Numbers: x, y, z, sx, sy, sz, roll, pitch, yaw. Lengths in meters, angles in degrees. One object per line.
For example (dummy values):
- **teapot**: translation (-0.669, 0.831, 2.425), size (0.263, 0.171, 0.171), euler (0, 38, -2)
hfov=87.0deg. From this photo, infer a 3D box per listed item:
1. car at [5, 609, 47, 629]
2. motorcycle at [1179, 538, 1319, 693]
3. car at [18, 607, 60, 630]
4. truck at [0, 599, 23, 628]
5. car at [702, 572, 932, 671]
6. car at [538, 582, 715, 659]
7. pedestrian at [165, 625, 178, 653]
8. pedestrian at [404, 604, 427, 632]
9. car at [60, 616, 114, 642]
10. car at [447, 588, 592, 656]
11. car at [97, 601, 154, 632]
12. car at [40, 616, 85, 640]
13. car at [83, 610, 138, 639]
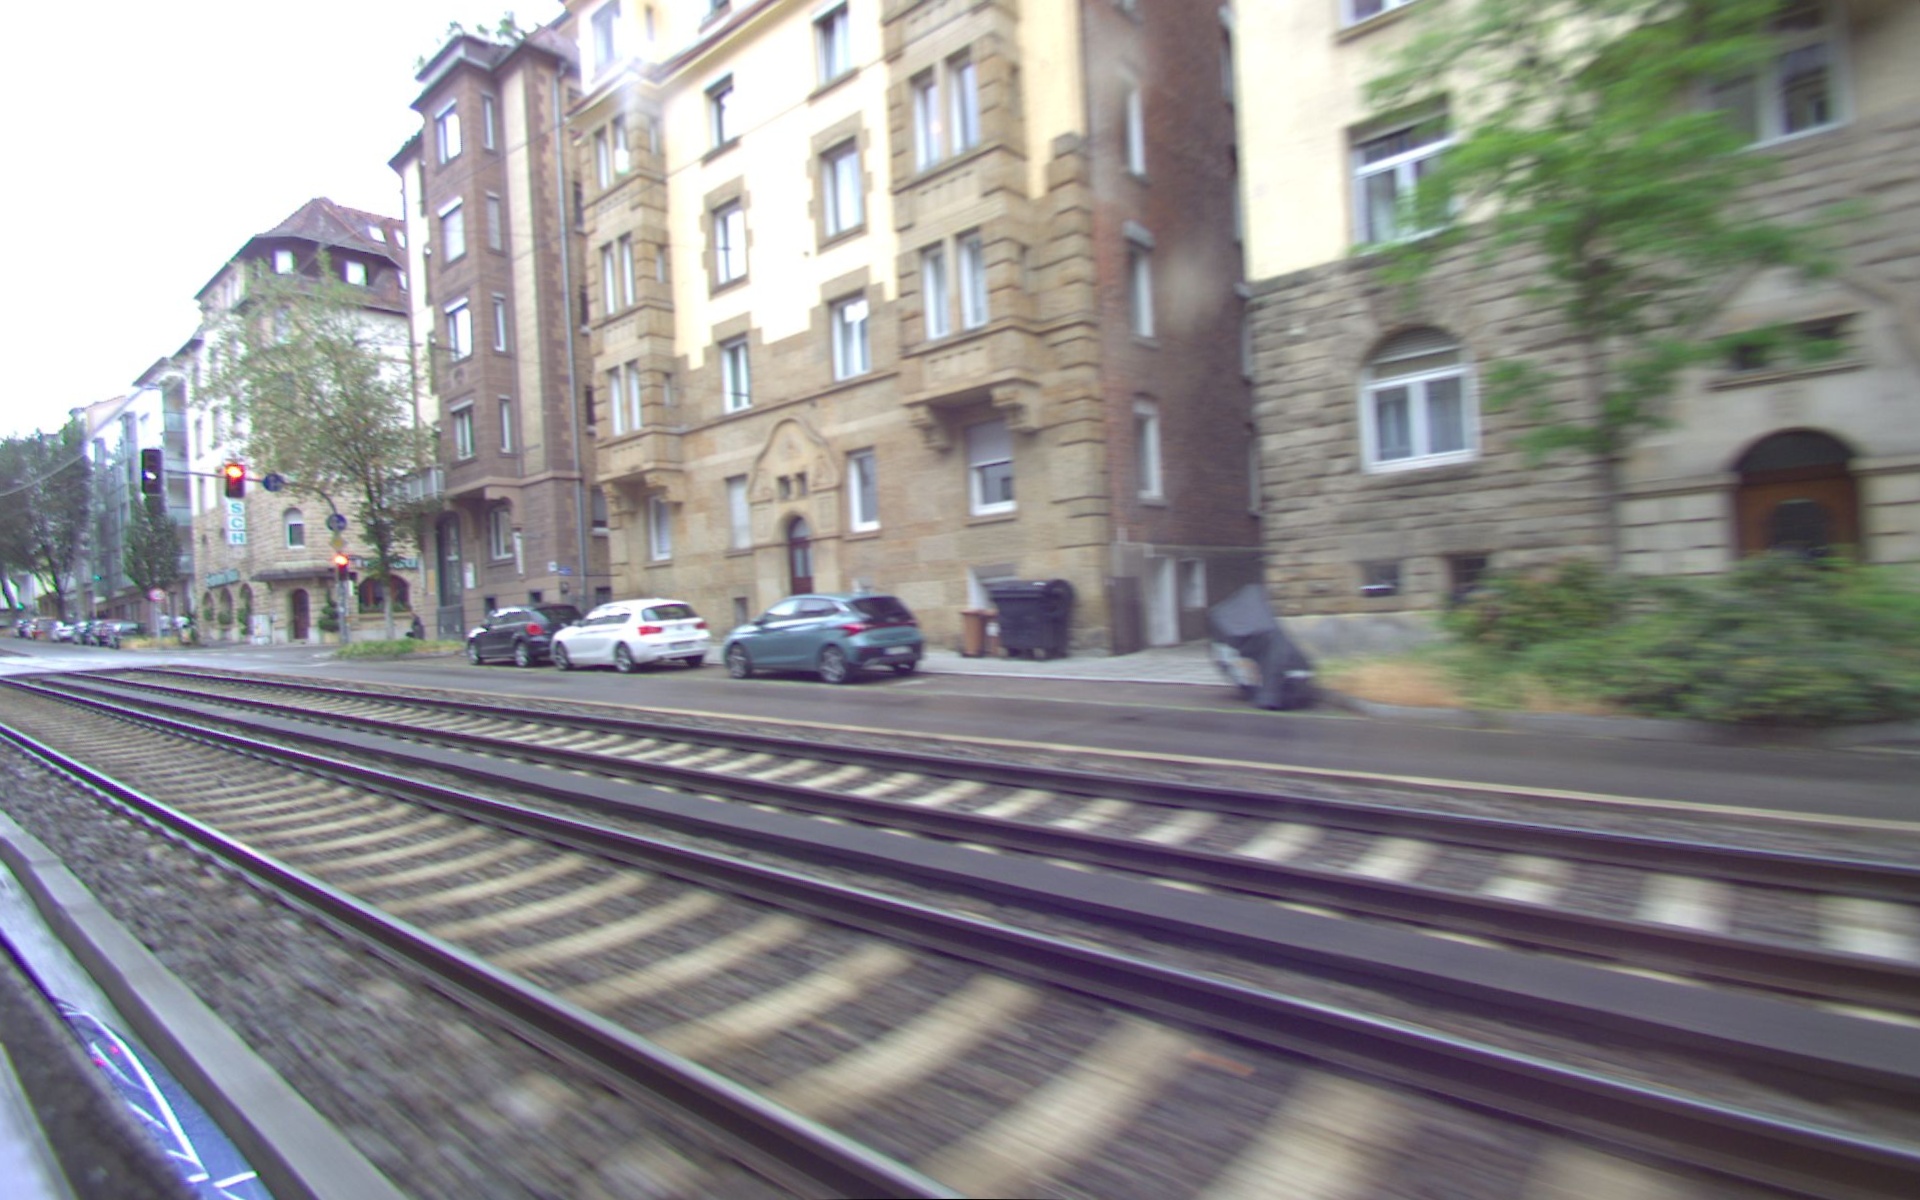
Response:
- **car**: translation (-73.395, 1.445, 79.530), size (4.466, 1.451, 1.887), euler (0, 1, 40)
- **motorcycle**: translation (3.498, 0.147, 12.076), size (1.285, 1.654, 2.249), euler (-1, 1, 24)
- **car**: translation (-68.001, 1.336, 74.732), size (4.156, 1.581, 1.758), euler (0, 1, 40)
- **truck**: translation (-84.095, 1.195, 88.827), size (6.353, 2.363, 2.168), euler (1, 2, 43)
- **car**: translation (-2.545, 0.336, 17.375), size (4.144, 1.448, 1.545), euler (-1, 3, 41)
- **car**: translation (-7.104, 0.401, 21.353), size (4.262, 1.436, 1.649), euler (-1, 1, 43)
- **pedestrian**: translation (-44.502, 2.194, 57.115), size (0.644, 1.582, 0.511), euler (1, 1, 44)
- **pedestrian**: translation (-27.905, 0.924, 51.886), size (0.721, 1.426, 0.808), euler (-2, 0, 44)
- **car**: translation (-52.858, 1.744, 61.281), size (4.427, 1.466, 1.783), euler (-2, 0, 40)
- **car**: translation (-10.875, 0.499, 24.879), size (3.999, 1.497, 1.746), euler (0, 1, 42)
- **car**: translation (-45.496, 0.874, 55.142), size (3.892, 1.564, 1.747), euler (-1, 1, 41)
- **car**: translation (-59.496, 1.830, 67.074), size (4.128, 1.345, 1.685), euler (0, 4, 41)
- **car**: translation (-48.903, 1.384, 58.270), size (3.523, 1.509, 1.789), euler (-1, 2, 40)
